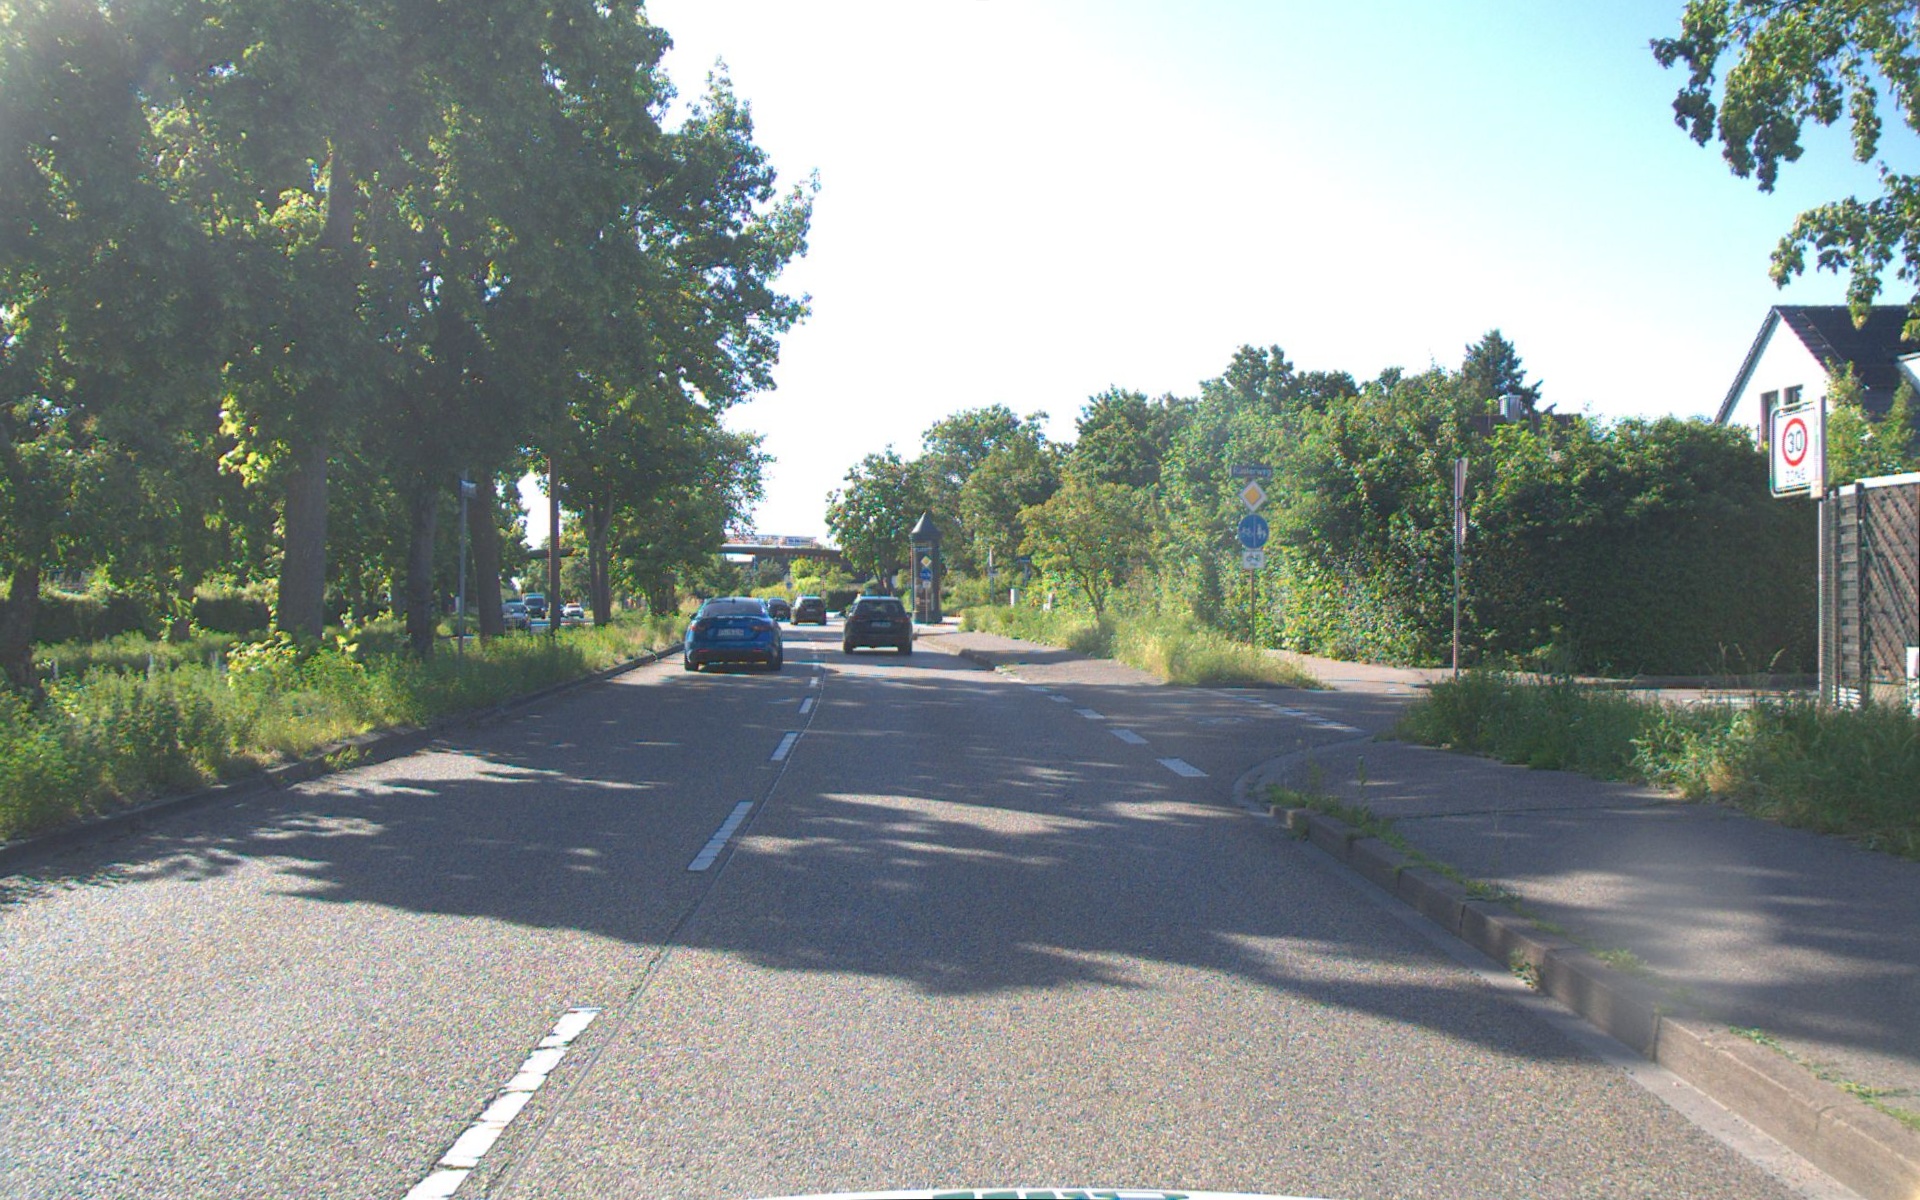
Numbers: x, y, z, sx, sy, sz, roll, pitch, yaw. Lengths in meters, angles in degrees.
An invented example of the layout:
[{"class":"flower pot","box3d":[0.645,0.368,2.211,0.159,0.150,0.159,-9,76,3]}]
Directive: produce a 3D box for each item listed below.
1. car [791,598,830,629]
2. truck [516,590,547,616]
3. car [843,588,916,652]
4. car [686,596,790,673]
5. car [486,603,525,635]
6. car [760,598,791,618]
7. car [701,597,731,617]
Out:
[{"class":"car","box3d":[-8.176,0.740,90.145,1.713,1.625,4.163,0,0,-11]},{"class":"truck","box3d":[-43.981,0.307,169.665,2.144,2.556,5.700,-3,1,-23]},{"class":"car","box3d":[-2.153,0.536,43.563,1.726,1.587,3.995,1,-1,-5]},{"class":"car","box3d":[-4.437,0.651,33.497,1.956,1.429,3.995,-1,0,-6]},{"class":"car","box3d":[-22.780,0.941,83.009,1.664,1.461,4.923,-3,0,-13]},{"class":"car","box3d":[-13.255,0.579,118.578,1.865,1.379,3.988,-1,0,-12]},{"class":"car","box3d":[-17.451,0.497,118.335,1.865,1.379,3.988,-1,0,-12]}]
